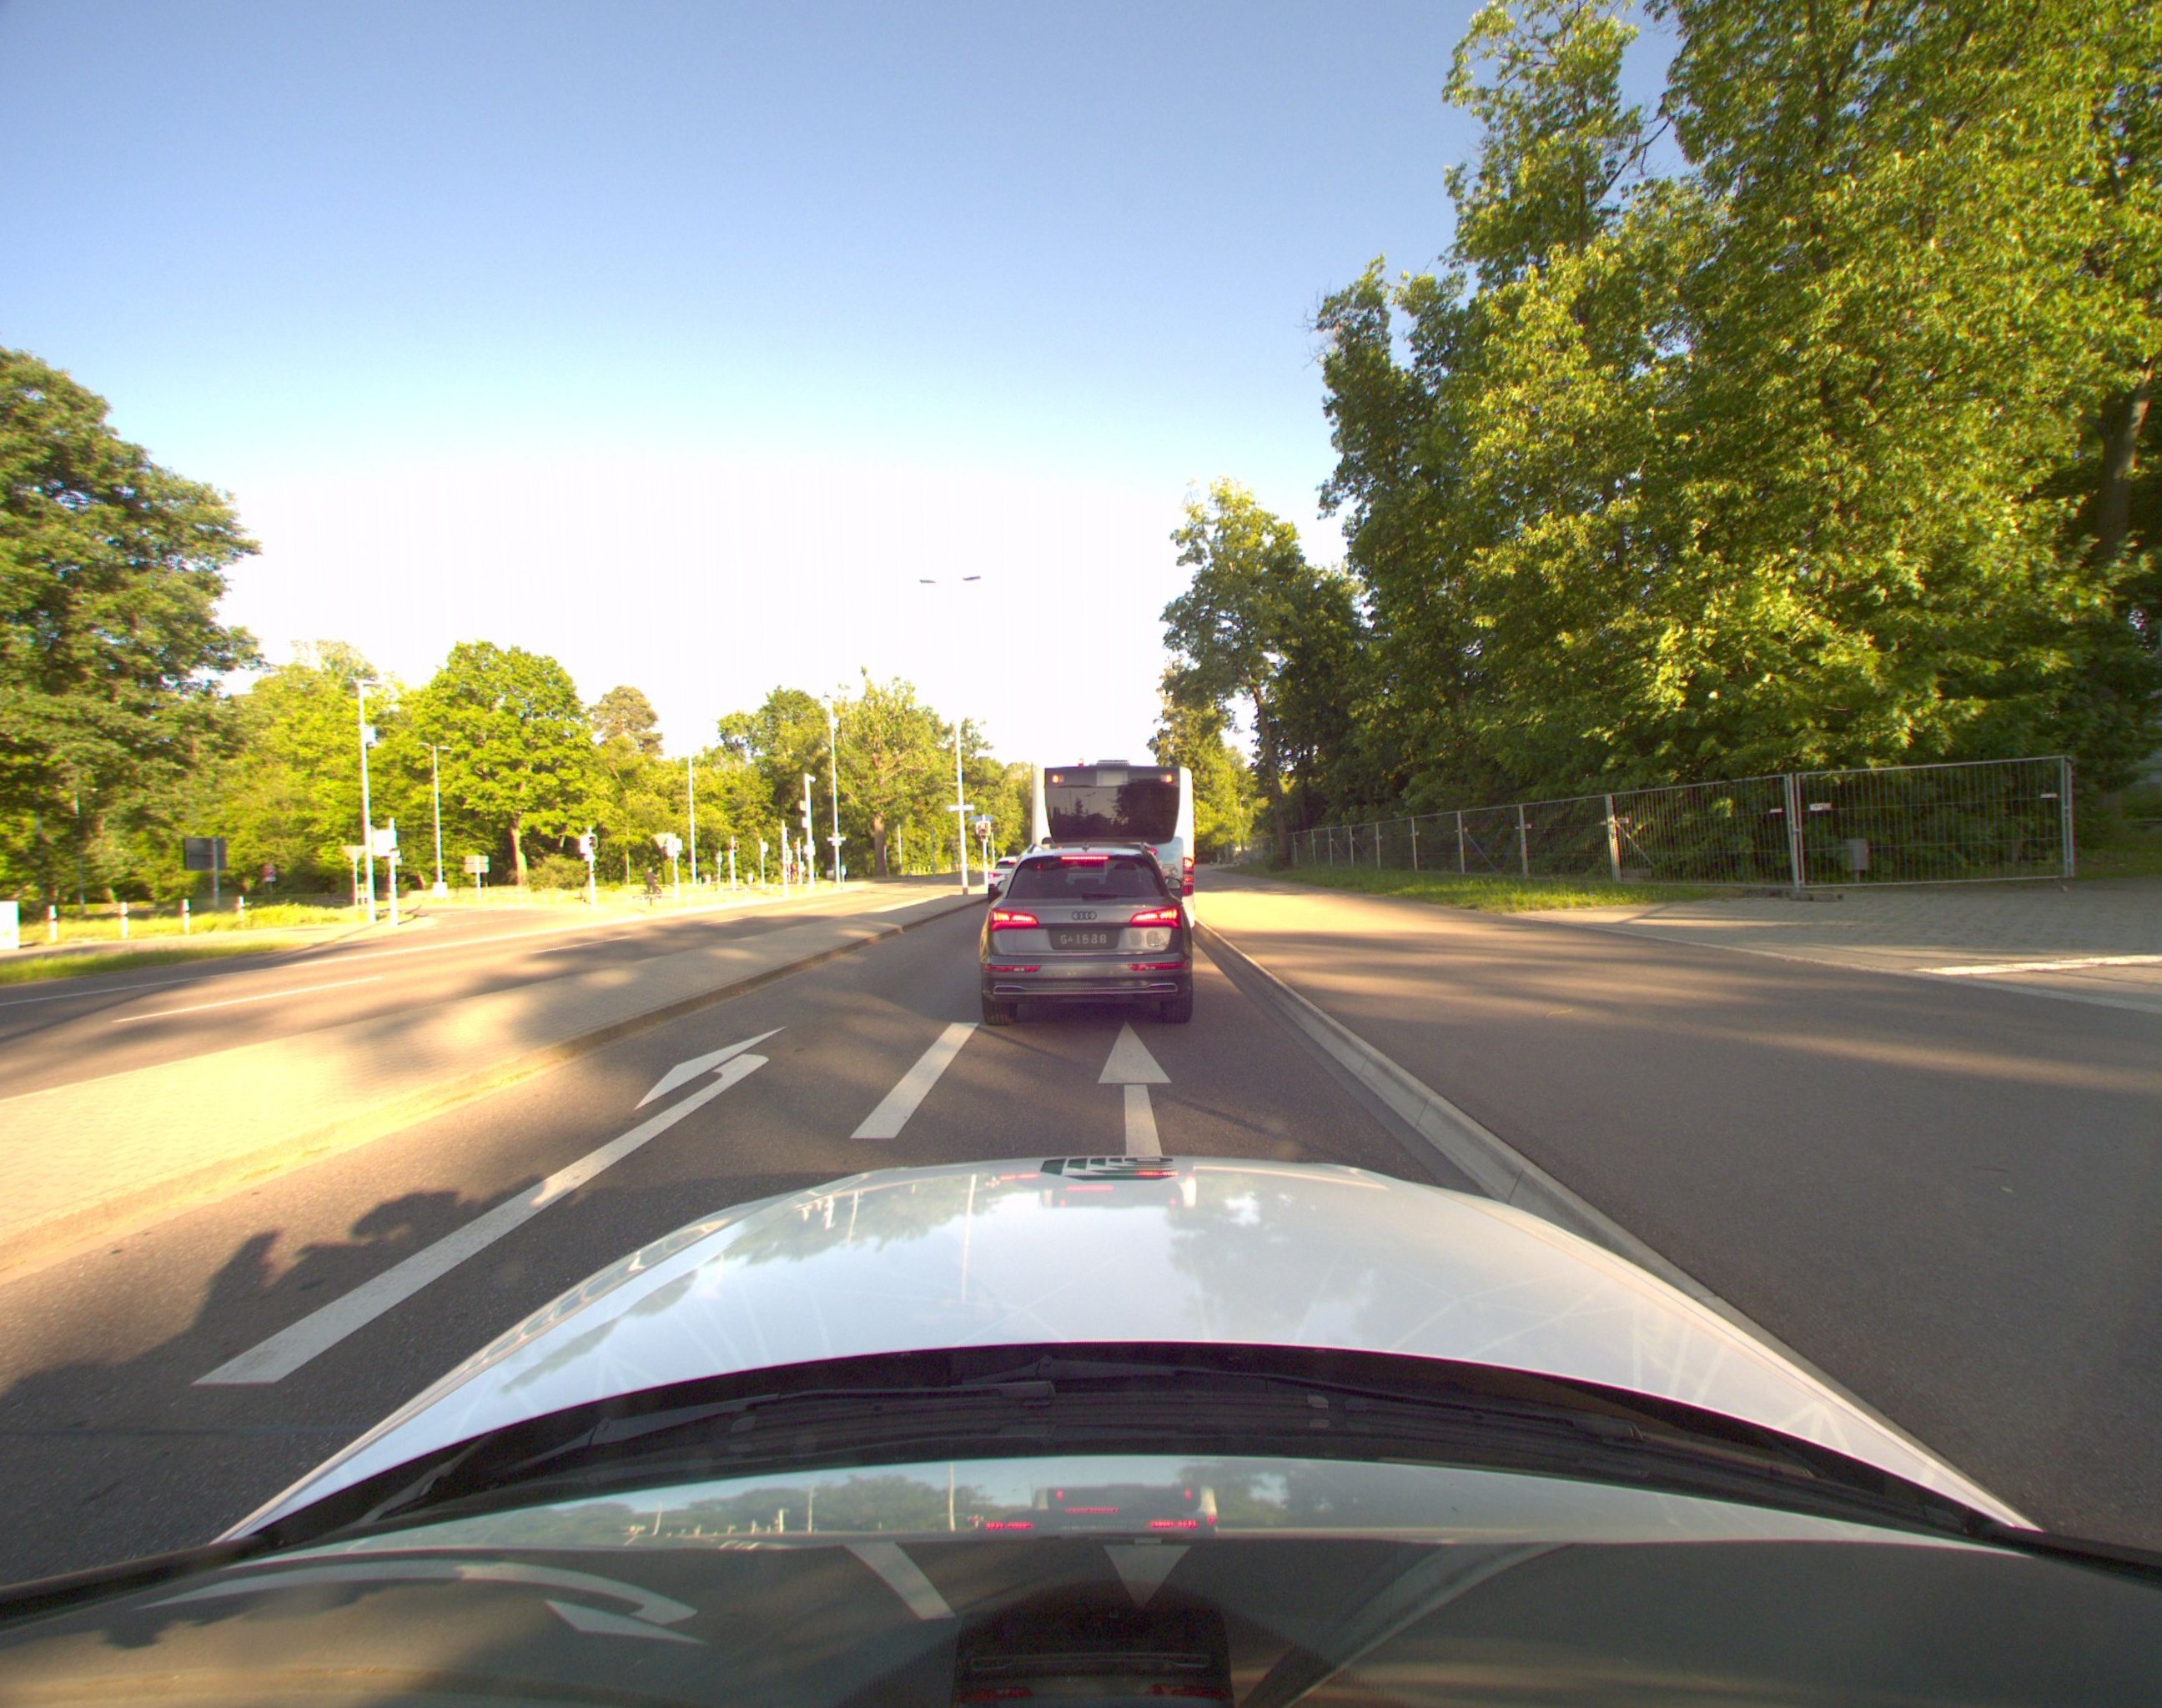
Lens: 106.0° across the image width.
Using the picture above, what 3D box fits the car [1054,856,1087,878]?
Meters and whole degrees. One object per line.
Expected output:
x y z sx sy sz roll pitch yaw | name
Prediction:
-0.807 1.027 65.474 1.982 1.652 4.339 -1 -1 9 | car

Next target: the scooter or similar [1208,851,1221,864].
12.789 0.321 77.911 1.175 1.174 0.661 0 0 13 | scooter or similar

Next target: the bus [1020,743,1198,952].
0.578 -0.114 15.252 2.667 3.142 5.887 0 0 3 | bus

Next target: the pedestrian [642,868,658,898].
-22.748 1.545 42.990 0.480 1.562 0.649 0 -1 1 | pedestrian

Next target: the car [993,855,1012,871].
-8.743 0.966 90.908 1.990 1.662 3.995 -3 0 -4 | car

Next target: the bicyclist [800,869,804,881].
-22.232 1.644 64.879 0.272 0.963 0.240 0 -1 -3 | bicyclist

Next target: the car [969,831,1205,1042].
0.110 0.639 8.473 1.861 1.663 4.002 0 1 2 | car

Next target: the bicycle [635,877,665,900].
-22.731 1.803 42.983 0.466 1.178 2.005 0 -1 2 | bicycle

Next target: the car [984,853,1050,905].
-2.089 0.788 27.764 1.801 1.572 4.002 0 1 2 | car

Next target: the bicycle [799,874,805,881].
-22.225 1.871 64.837 0.266 0.581 0.838 0 -1 -4 | bicycle
